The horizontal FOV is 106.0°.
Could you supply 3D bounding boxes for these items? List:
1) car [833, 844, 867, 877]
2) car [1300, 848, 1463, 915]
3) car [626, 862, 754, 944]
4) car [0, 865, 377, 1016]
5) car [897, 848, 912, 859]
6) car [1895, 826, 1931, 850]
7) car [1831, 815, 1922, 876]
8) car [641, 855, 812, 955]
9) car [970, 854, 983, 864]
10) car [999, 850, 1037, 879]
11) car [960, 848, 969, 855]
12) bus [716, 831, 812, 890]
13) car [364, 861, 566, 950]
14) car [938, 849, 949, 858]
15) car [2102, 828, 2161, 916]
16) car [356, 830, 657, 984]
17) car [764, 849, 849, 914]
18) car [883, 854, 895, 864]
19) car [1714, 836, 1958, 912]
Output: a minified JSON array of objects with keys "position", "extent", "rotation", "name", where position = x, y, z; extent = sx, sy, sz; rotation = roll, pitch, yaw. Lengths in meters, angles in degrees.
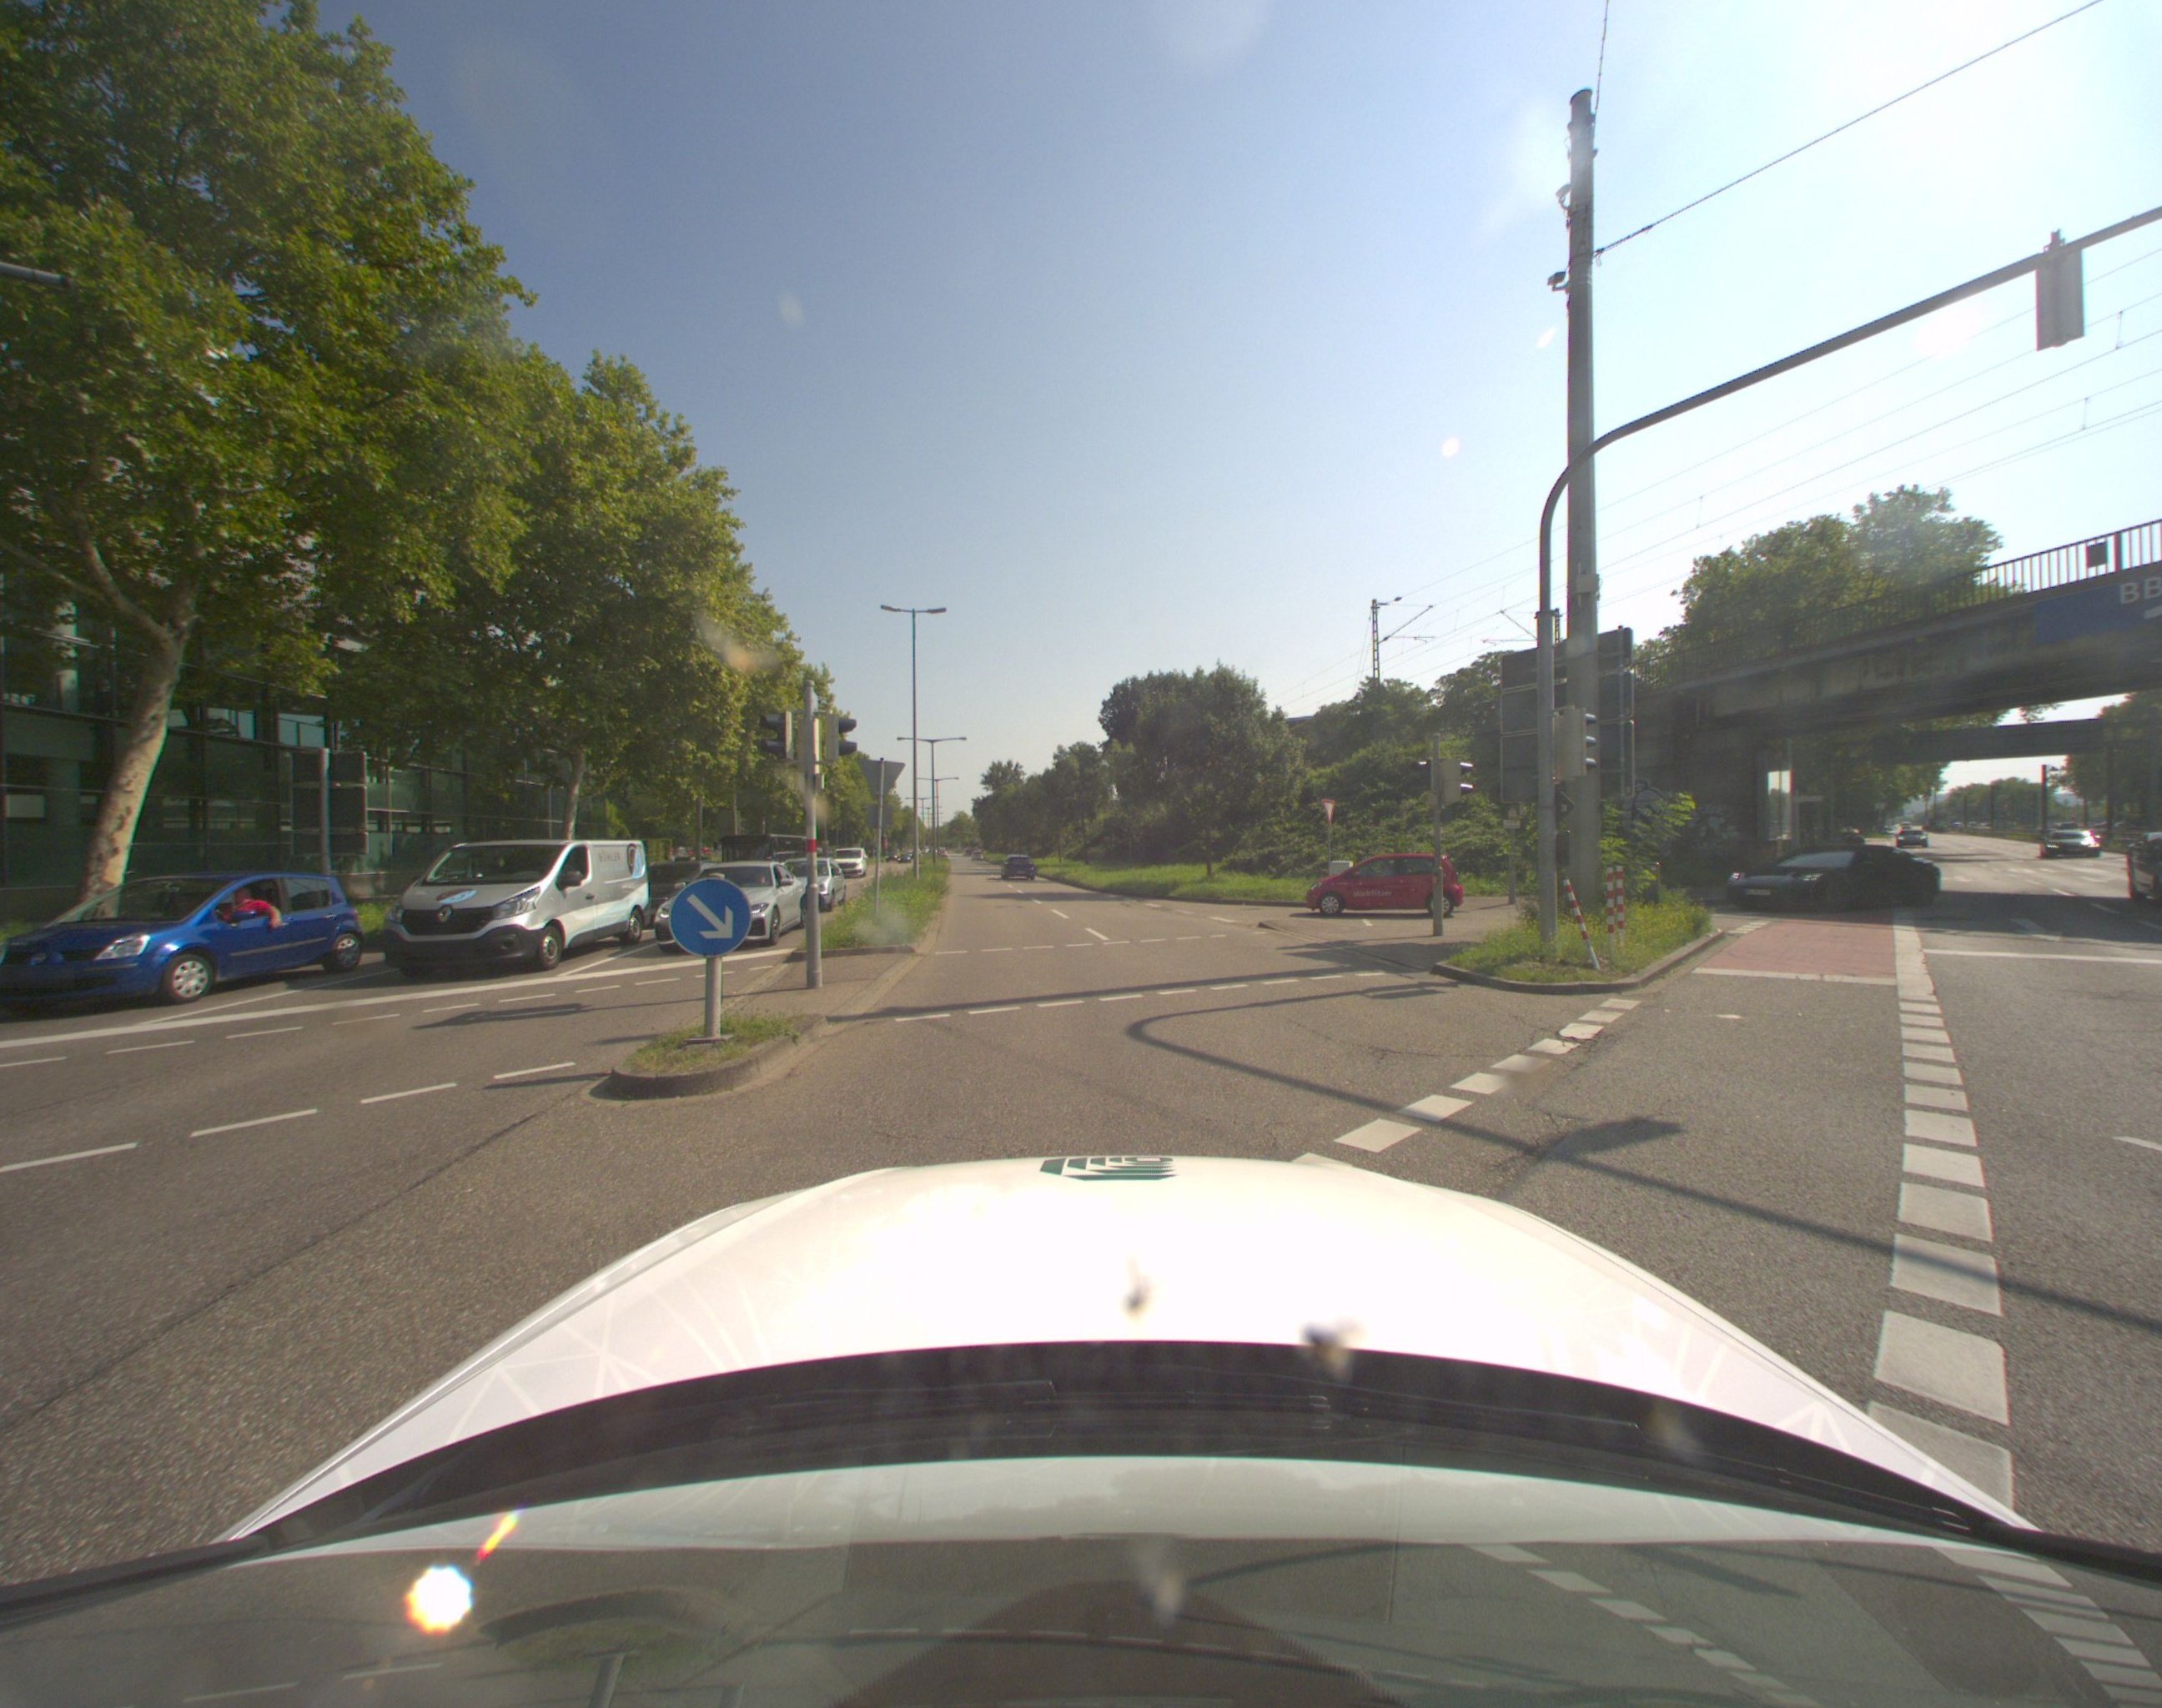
[{"position":[-15.133,0.392,53.630],"extent":[1.930,1.960,5.164],"rotation":[-3,2,-14],"name":"car"},{"position":[7.191,0.646,19.581],"extent":[3.511,1.467,1.653],"rotation":[-1,1,22],"name":"car"},{"position":[-10.399,1.210,22.056],"extent":[1.717,1.848,4.689],"rotation":[-3,0,-9],"name":"car"},{"position":[-11.570,0.974,10.717],"extent":[1.667,1.535,3.720],"rotation":[-3,0,-8],"name":"car"},{"position":[-26.445,-0.087,122.078],"extent":[1.845,1.489,4.629],"rotation":[-3,1,-9],"name":"car"},{"position":[73.971,-1.433,72.453],"extent":[1.975,2.013,4.024],"rotation":[3,3,43],"name":"car"},{"position":[26.338,-0.331,27.087],"extent":[1.975,1.848,4.024],"rotation":[3,3,43],"name":"car"},{"position":[-6.366,0.805,15.220],"extent":[1.836,1.443,4.590],"rotation":[-3,1,-10],"name":"car"},{"position":[-17.432,0.783,136.041],"extent":[1.994,1.654,3.986],"rotation":[-2,0,-10],"name":"car"},{"position":[-3.746,0.596,48.013],"extent":[1.781,1.427,3.987],"rotation":[1,3,-11],"name":"car"},{"position":[-27.566,-0.565,192.650],"extent":[1.994,1.654,3.986],"rotation":[2,1,-10],"name":"car"},{"position":[-17.185,0.317,44.992],"extent":[2.662,2.694,10.869],"rotation":[-3,0,-10],"name":"bus"},{"position":[-12.481,0.953,16.828],"extent":[1.667,1.535,3.720],"rotation":[-3,0,-8],"name":"car"},{"position":[-28.722,-0.128,170.221],"extent":[1.990,1.702,3.994],"rotation":[-2,0,-5],"name":"car"},{"position":[22.523,0.313,16.232],"extent":[1.975,1.521,4.375],"rotation":[1,3,42],"name":"car"},{"position":[-8.827,0.629,13.235],"extent":[1.928,1.957,5.194],"rotation":[-1,1,-10],"name":"car"},{"position":[-7.404,0.694,22.293],"extent":[1.615,1.535,4.084],"rotation":[-3,0,-12],"name":"car"},{"position":[-31.754,0.854,134.334],"extent":[1.848,1.605,4.588],"rotation":[0,0,-15],"name":"car"},{"position":[17.147,0.398,18.518],"extent":[4.885,1.463,1.988],"rotation":[-2,0,-19],"name":"car"}]
